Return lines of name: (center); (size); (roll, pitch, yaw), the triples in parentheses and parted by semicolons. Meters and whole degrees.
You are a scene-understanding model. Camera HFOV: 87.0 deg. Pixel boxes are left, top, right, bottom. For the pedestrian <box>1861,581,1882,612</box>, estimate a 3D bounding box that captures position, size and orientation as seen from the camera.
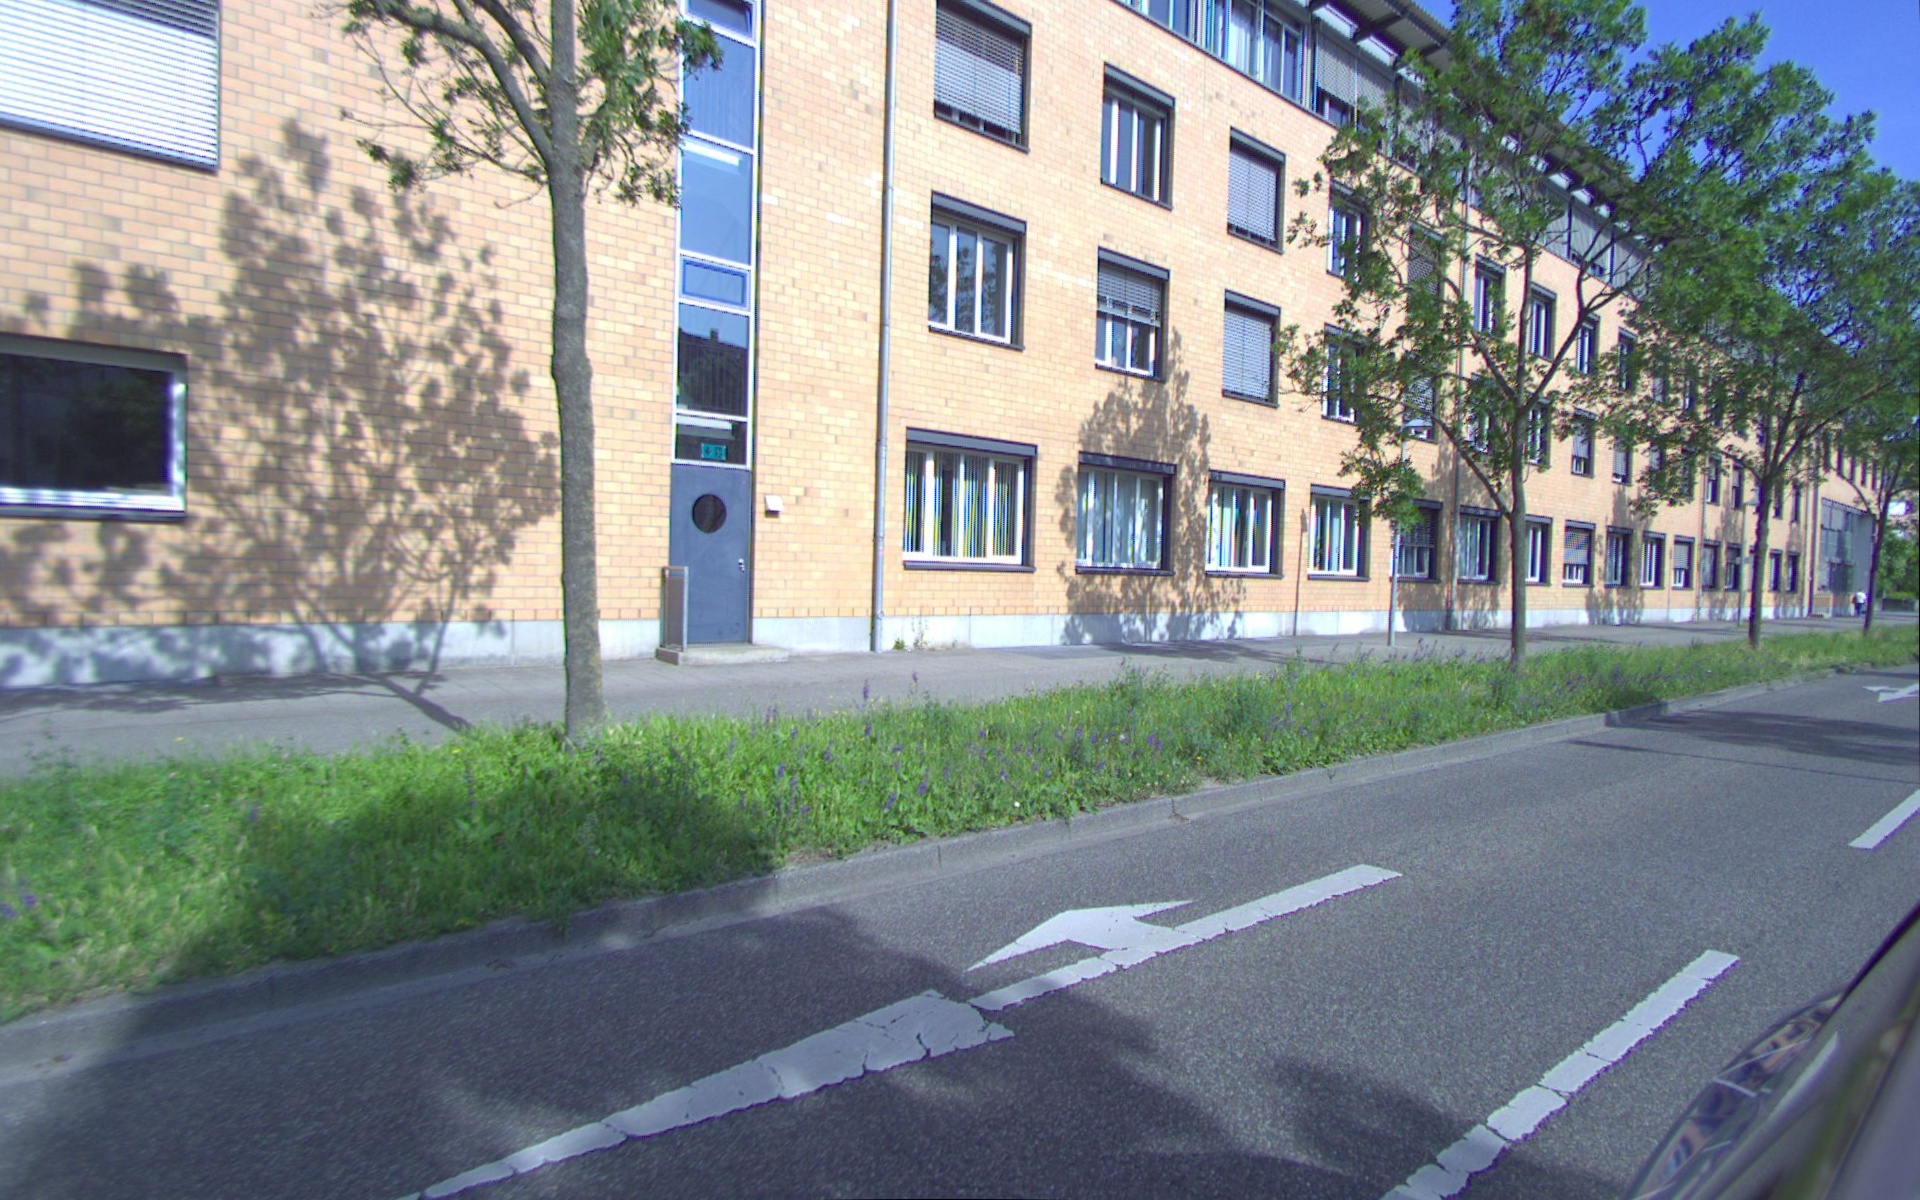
pedestrian: (50.357, -0.223, 55.925); (0.759, 1.676, 0.698); (-1, 3, -39)
